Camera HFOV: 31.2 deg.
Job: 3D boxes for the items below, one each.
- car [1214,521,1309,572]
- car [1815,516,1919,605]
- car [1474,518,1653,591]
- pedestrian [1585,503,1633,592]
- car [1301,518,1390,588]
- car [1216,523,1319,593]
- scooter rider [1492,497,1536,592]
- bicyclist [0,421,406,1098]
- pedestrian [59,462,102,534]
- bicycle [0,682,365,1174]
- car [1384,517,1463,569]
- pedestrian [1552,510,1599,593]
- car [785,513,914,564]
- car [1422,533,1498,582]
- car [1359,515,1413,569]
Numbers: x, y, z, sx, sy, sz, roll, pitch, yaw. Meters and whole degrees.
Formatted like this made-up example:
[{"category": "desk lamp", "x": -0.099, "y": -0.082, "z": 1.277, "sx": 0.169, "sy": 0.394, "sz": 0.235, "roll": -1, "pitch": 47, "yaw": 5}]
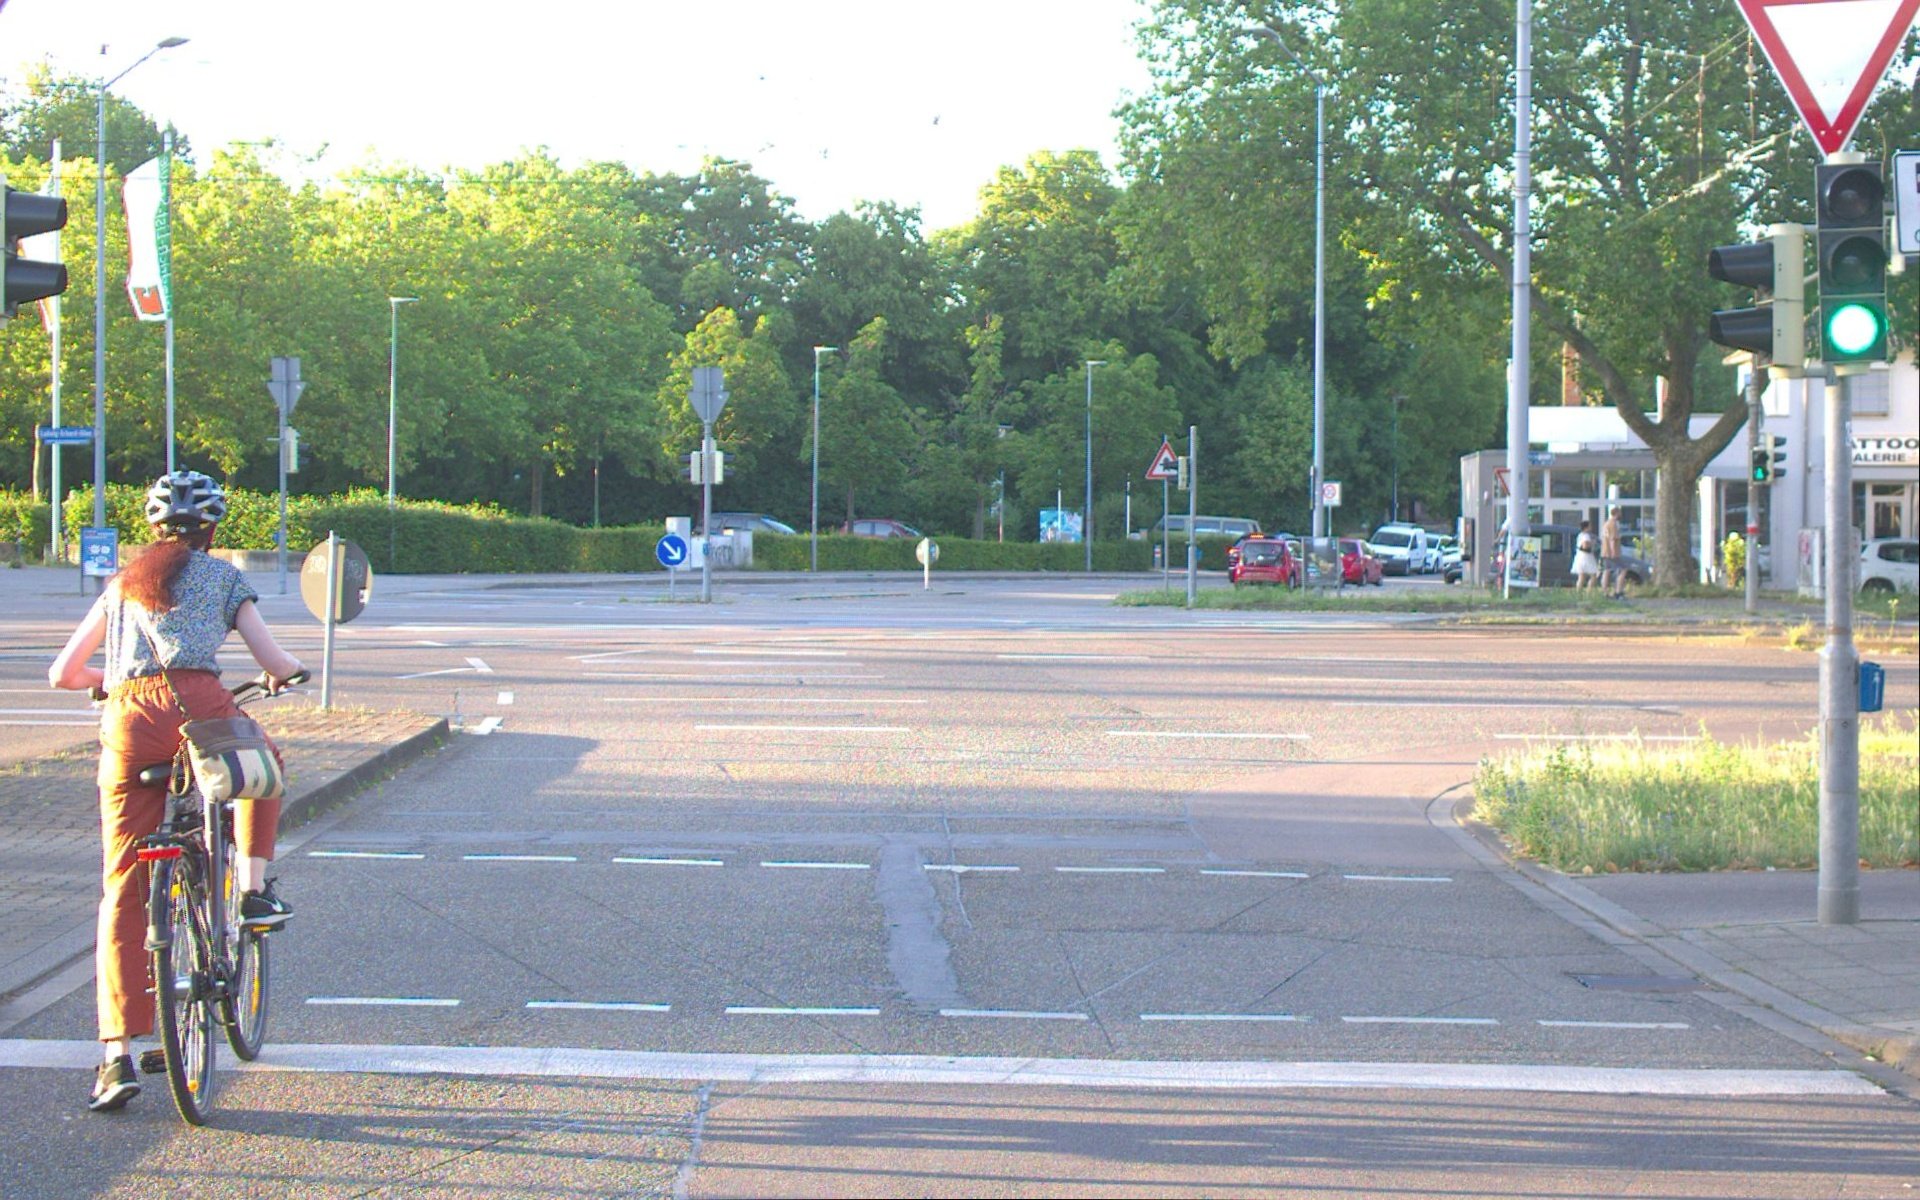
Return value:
[{"category": "car", "x": 9.489, "y": -1.661, "z": 107.782, "sx": 1.757, "sy": 1.535, "sz": 4.395, "roll": 1, "pitch": 0, "yaw": 22}, {"category": "car", "x": 20.387, "y": -0.831, "z": 72.451, "sx": 4.230, "sy": 1.840, "sz": 2.000, "roll": 1, "pitch": 1, "yaw": 2}, {"category": "car", "x": 15.571, "y": -1.184, "z": 88.938, "sx": 4.378, "sy": 1.828, "sz": 1.948, "roll": 1, "pitch": 1, "yaw": 5}, {"category": "pedestrian", "x": 12.837, "y": -1.039, "z": 67.949, "sx": 0.719, "sy": 1.748, "sz": 0.896, "roll": 1, "pitch": 1, "yaw": 24}, {"category": "car", "x": 11.594, "y": -1.440, "z": 103.288, "sx": 1.916, "sy": 2.040, "sz": 3.997, "roll": 1, "pitch": 2, "yaw": 17}, {"category": "car", "x": 8.581, "y": -1.196, "z": 95.676, "sx": 1.870, "sy": 1.868, "sz": 3.870, "roll": 1, "pitch": 2, "yaw": 21}, {"category": "scooter rider", "x": 10.806, "y": -1.079, "z": 67.073, "sx": 0.702, "sy": 1.848, "sz": 0.669, "roll": 1, "pitch": 0, "yaw": -1}, {"category": "bicyclist", "x": -2.086, "y": 0.395, "z": 9.231, "sx": 1.031, "sy": 1.712, "sz": 0.996, "roll": 1, "pitch": 1, "yaw": -1}, {"category": "pedestrian", "x": -21.517, "y": -2.495, "z": 84.099, "sx": 0.894, "sy": 1.748, "sz": 0.721, "roll": 0, "pitch": 1, "yaw": -26}, {"category": "bicycle", "x": -2.092, "y": 0.806, "z": 9.233, "sx": 0.634, "sy": 1.064, "sz": 2.122, "roll": 1, "pitch": 1, "yaw": -1}, {"category": "car", "x": 18.309, "y": -2.258, "z": 135.646, "sx": 1.996, "sy": 2.007, "sz": 3.995, "roll": 1, "pitch": 2, "yaw": 24}, {"category": "pedestrian", "x": 12.307, "y": -0.978, "z": 68.747, "sx": 0.719, "sy": 1.633, "sz": 0.896, "roll": 1, "pitch": 1, "yaw": 24}, {"category": "car", "x": -3.502, "y": -1.975, "z": 109.491, "sx": 3.987, "sy": 1.555, "sz": 2.000, "roll": 1, "pitch": 1, "yaw": 1}, {"category": "car", "x": 16.815, "y": -1.448, "z": 115.482, "sx": 1.916, "sy": 1.597, "sz": 3.997, "roll": 1, "pitch": 2, "yaw": 17}, {"category": "car", "x": 16.220, "y": -2.243, "z": 131.148, "sx": 1.994, "sy": 2.007, "sz": 3.999, "roll": 1, "pitch": 1, "yaw": 7}]
